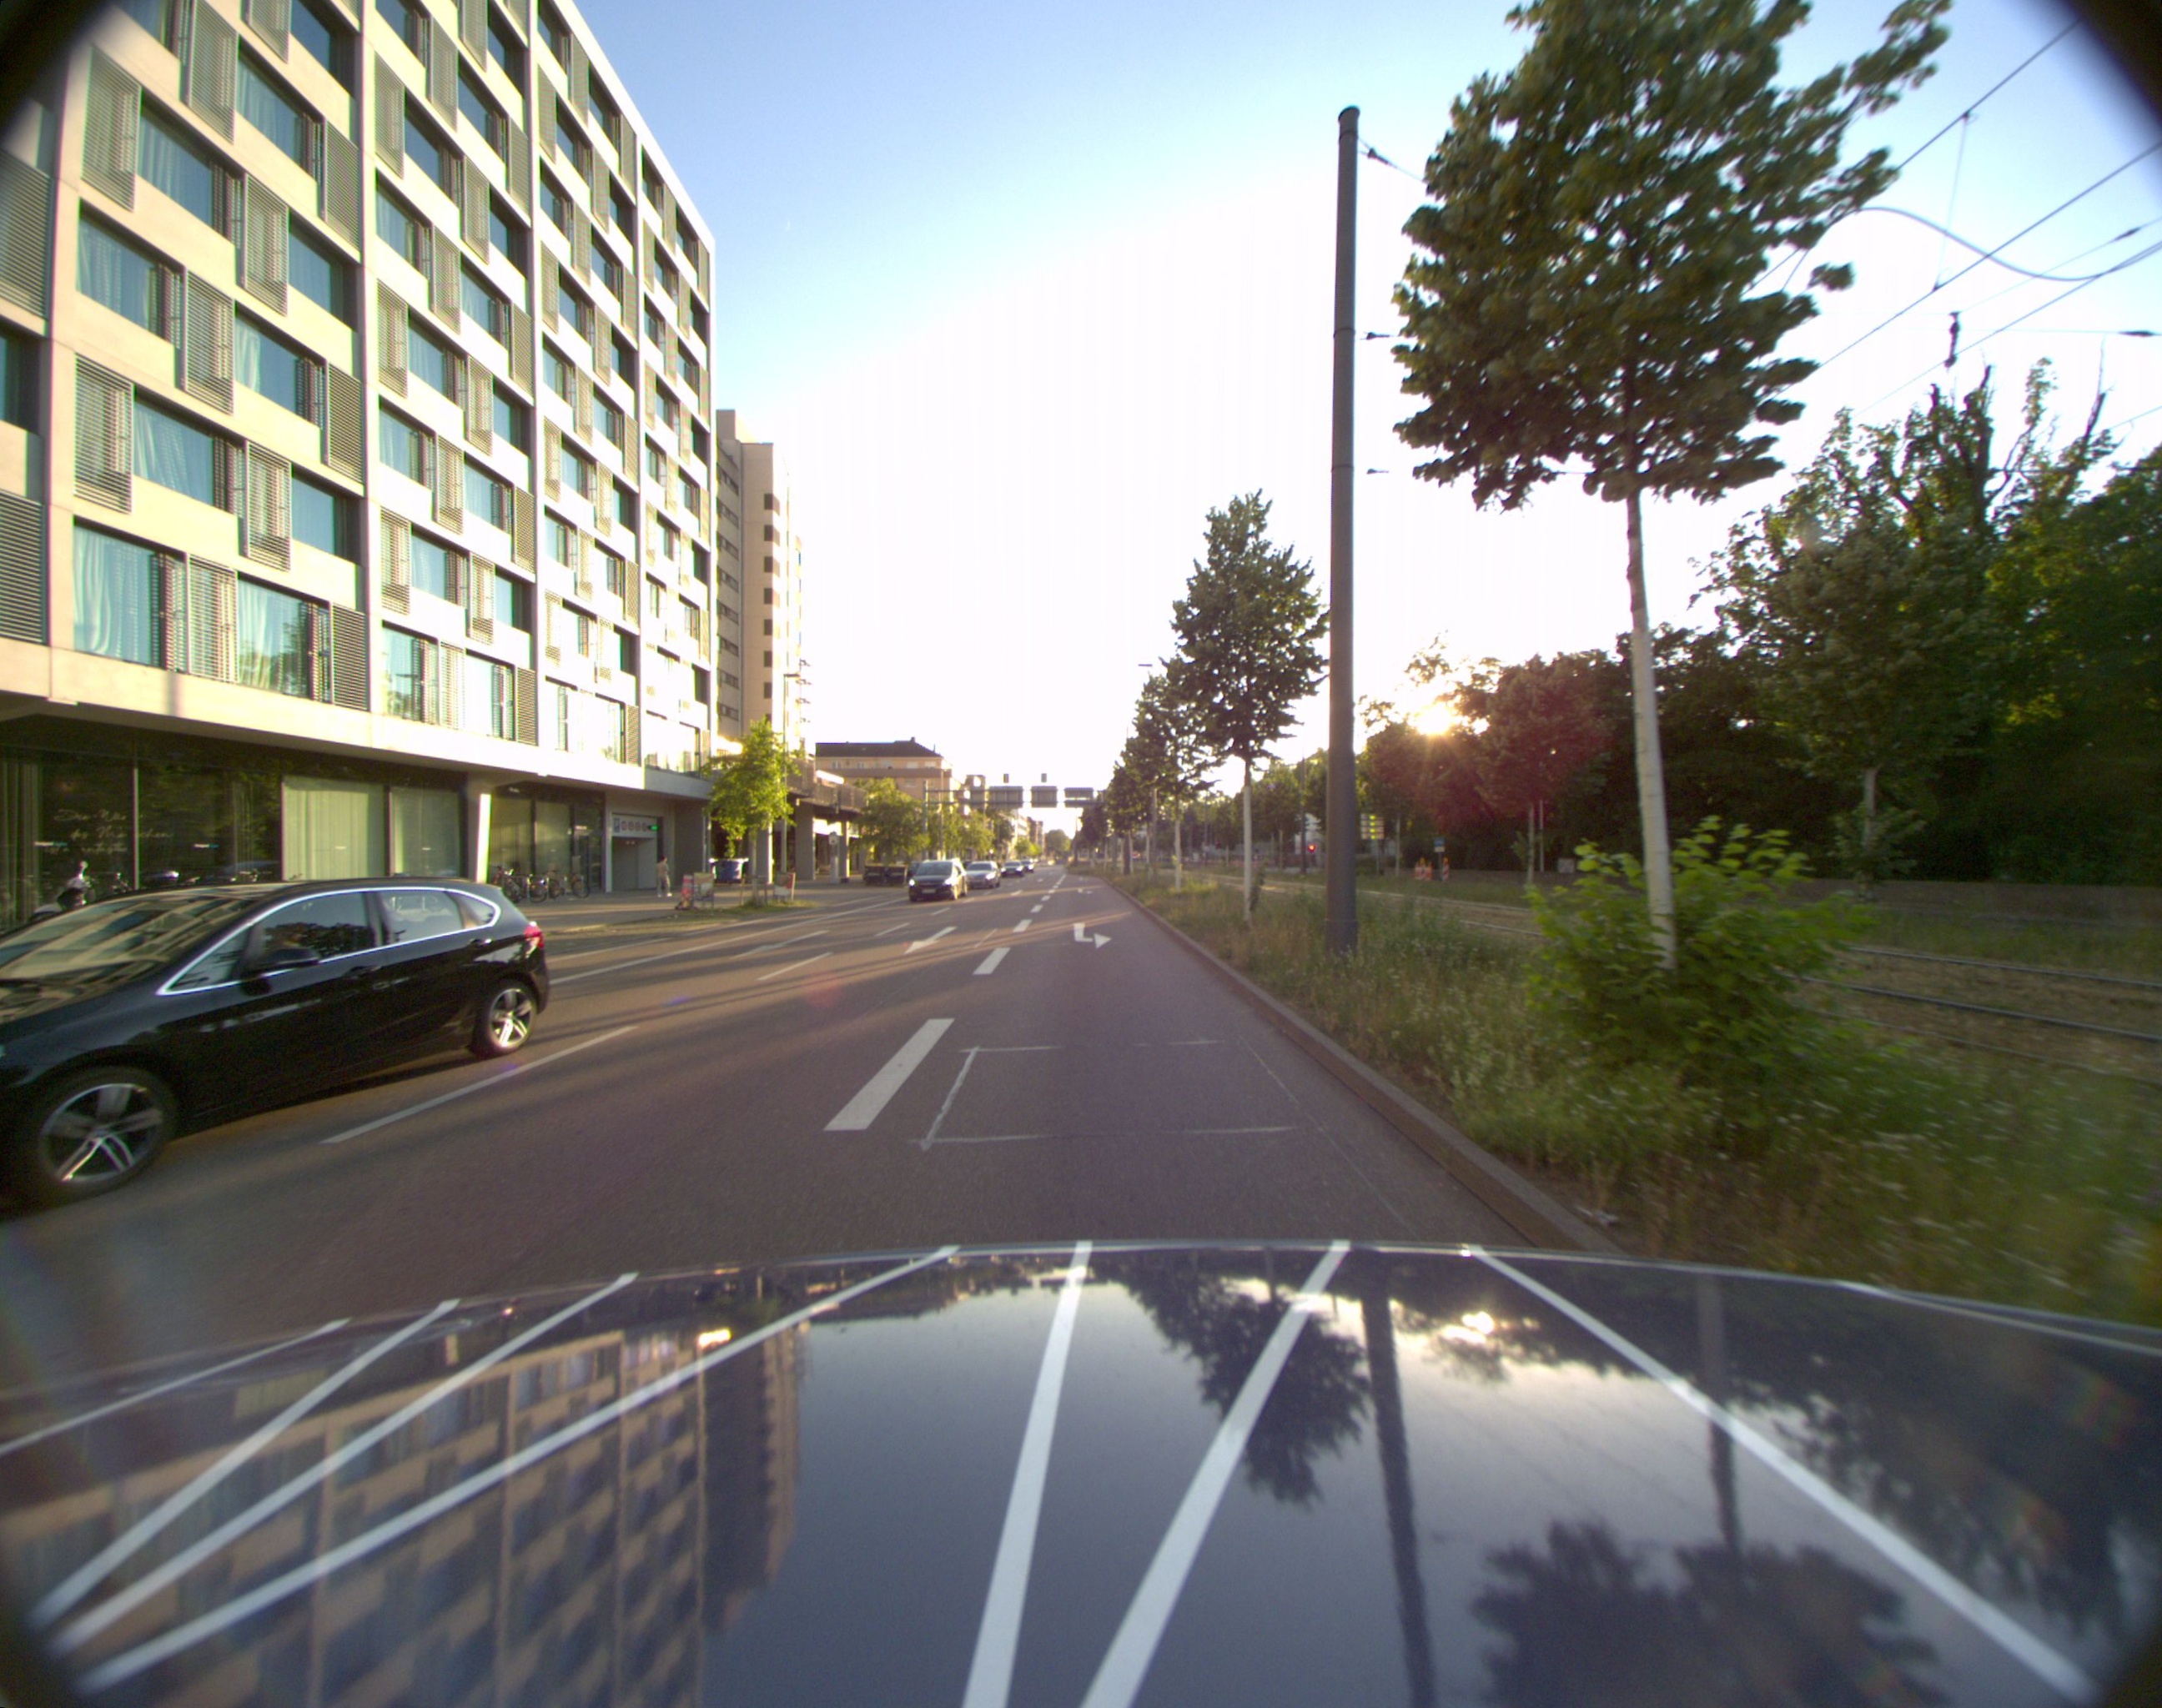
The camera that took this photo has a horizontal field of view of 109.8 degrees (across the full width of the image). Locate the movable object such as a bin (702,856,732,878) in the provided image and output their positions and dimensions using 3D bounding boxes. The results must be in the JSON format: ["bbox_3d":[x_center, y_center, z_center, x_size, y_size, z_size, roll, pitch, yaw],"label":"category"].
[{"bbox_3d":[-21.267,0.757,44.418,1.185,1.305,1.124,0,0,-2],"label":"movable object such as a bin"}]

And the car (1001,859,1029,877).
[{"bbox_3d":[-5.729,1.219,66.256,1.915,1.387,4.277,-2,0,1],"label":"car"}]

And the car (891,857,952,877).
[{"bbox_3d":[-11.900,0.978,56.765,3.999,1.408,1.746,2,0,-38],"label":"car"}]

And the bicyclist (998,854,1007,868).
[{"bbox_3d":[-9.797,0.837,94.676,0.821,1.682,0.959,1,0,-28],"label":"bicyclist"}]

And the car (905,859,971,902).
[{"bbox_3d":[-5.775,1.033,31.263,1.827,1.589,4.367,-2,0,0],"label":"car"}]

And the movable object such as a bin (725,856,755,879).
[{"bbox_3d":[-19.902,0.769,44.416,1.185,1.291,1.304,0,0,-2],"label":"movable object such as a bin"}]

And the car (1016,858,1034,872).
[{"bbox_3d":[-6.196,1.163,83.585,1.863,1.387,4.275,-2,0,-4],"label":"car"}]

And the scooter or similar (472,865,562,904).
[{"bbox_3d":[-17.916,0.970,24.157,2.378,1.176,0.620,1,0,-1],"label":"scooter or similar"}]

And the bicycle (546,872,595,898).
[{"bbox_3d":[-18.296,1.112,27.235,1.425,0.886,0.457,0,0,-1],"label":"bicycle"}]

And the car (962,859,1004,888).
[{"bbox_3d":[-5.379,1.055,42.193,1.833,1.455,4.302,-2,0,-1],"label":"car"}]

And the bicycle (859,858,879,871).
[{"bbox_3d":[-18.426,0.921,66.089,1.576,1.042,0.433,2,0,-2],"label":"bicycle"}]

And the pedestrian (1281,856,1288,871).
[{"bbox_3d":[21.745,1.037,81.073,0.670,1.597,0.678,-2,-4,14],"label":"pedestrian"}]

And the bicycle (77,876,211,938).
[{"bbox_3d":[-18.429,1.041,14.983,1.612,1.148,0.611,2,0,-13],"label":"bicycle"}]

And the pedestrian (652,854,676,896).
[{"bbox_3d":[-16.134,0.808,29.412,0.578,1.609,0.643,2,0,-3],"label":"pedestrian"}]

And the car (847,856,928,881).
[{"bbox_3d":[-12.581,0.958,49.606,4.679,1.499,1.934,2,0,-40],"label":"car"}]

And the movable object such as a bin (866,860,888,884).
[{"bbox_3d":[-12.108,1.070,45.165,1.017,1.339,1.160,2,0,-5],"label":"movable object such as a bin"}]

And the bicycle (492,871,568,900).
[{"bbox_3d":[-18.641,1.057,25.737,2.022,0.952,0.620,1,0,-7],"label":"bicycle"}]

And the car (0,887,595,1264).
[{"bbox_3d":[-5.766,1.105,5.150,1.825,1.510,4.791,-2,0,0],"label":"car"}]

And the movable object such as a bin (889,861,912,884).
[{"bbox_3d":[-10.747,1.084,45.276,1.088,1.294,1.360,2,0,-7],"label":"movable object such as a bin"}]

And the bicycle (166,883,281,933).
[{"bbox_3d":[-18.019,1.132,15.988,1.704,0.980,0.551,2,0,-3],"label":"bicycle"}]

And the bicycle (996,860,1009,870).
[{"bbox_3d":[-9.797,1.325,94.666,0.821,1.166,2.143,1,0,-28],"label":"bicycle"}]

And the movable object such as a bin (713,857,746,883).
[{"bbox_3d":[-18.537,0.852,40.090,1.108,1.322,1.283,2,0,-1],"label":"movable object such as a bin"}]

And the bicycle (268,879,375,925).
[{"bbox_3d":[-18.015,1.126,18.040,1.890,1.004,0.565,2,1,-2],"label":"bicycle"}]

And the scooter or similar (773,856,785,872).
[{"bbox_3d":[-22.618,0.759,56.851,0.402,1.154,1.829,-2,0,-10],"label":"scooter or similar"}]

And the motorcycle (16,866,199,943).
[{"bbox_3d":[-18.149,0.931,14.216,2.120,1.378,0.671,1,0,-14],"label":"motorcycle"}]

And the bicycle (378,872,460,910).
[{"bbox_3d":[-18.083,1.002,20.776,1.704,0.980,0.551,2,0,-3],"label":"bicycle"}]

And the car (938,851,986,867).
[{"bbox_3d":[-12.261,0.530,78.359,4.617,1.444,1.808,2,0,-41],"label":"car"}]

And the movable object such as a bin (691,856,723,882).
[{"bbox_3d":[-19.720,0.788,40.088,1.076,1.322,1.202,1,0,-1],"label":"movable object such as a bin"}]

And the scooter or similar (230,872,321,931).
[{"bbox_3d":[-17.608,1.030,16.627,1.271,1.226,0.608,2,0,-4],"label":"scooter or similar"}]

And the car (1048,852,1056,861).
[{"bbox_3d":[-7.210,0.621,186.298,1.727,1.909,4.293,-2,0,-4],"label":"car"}]
